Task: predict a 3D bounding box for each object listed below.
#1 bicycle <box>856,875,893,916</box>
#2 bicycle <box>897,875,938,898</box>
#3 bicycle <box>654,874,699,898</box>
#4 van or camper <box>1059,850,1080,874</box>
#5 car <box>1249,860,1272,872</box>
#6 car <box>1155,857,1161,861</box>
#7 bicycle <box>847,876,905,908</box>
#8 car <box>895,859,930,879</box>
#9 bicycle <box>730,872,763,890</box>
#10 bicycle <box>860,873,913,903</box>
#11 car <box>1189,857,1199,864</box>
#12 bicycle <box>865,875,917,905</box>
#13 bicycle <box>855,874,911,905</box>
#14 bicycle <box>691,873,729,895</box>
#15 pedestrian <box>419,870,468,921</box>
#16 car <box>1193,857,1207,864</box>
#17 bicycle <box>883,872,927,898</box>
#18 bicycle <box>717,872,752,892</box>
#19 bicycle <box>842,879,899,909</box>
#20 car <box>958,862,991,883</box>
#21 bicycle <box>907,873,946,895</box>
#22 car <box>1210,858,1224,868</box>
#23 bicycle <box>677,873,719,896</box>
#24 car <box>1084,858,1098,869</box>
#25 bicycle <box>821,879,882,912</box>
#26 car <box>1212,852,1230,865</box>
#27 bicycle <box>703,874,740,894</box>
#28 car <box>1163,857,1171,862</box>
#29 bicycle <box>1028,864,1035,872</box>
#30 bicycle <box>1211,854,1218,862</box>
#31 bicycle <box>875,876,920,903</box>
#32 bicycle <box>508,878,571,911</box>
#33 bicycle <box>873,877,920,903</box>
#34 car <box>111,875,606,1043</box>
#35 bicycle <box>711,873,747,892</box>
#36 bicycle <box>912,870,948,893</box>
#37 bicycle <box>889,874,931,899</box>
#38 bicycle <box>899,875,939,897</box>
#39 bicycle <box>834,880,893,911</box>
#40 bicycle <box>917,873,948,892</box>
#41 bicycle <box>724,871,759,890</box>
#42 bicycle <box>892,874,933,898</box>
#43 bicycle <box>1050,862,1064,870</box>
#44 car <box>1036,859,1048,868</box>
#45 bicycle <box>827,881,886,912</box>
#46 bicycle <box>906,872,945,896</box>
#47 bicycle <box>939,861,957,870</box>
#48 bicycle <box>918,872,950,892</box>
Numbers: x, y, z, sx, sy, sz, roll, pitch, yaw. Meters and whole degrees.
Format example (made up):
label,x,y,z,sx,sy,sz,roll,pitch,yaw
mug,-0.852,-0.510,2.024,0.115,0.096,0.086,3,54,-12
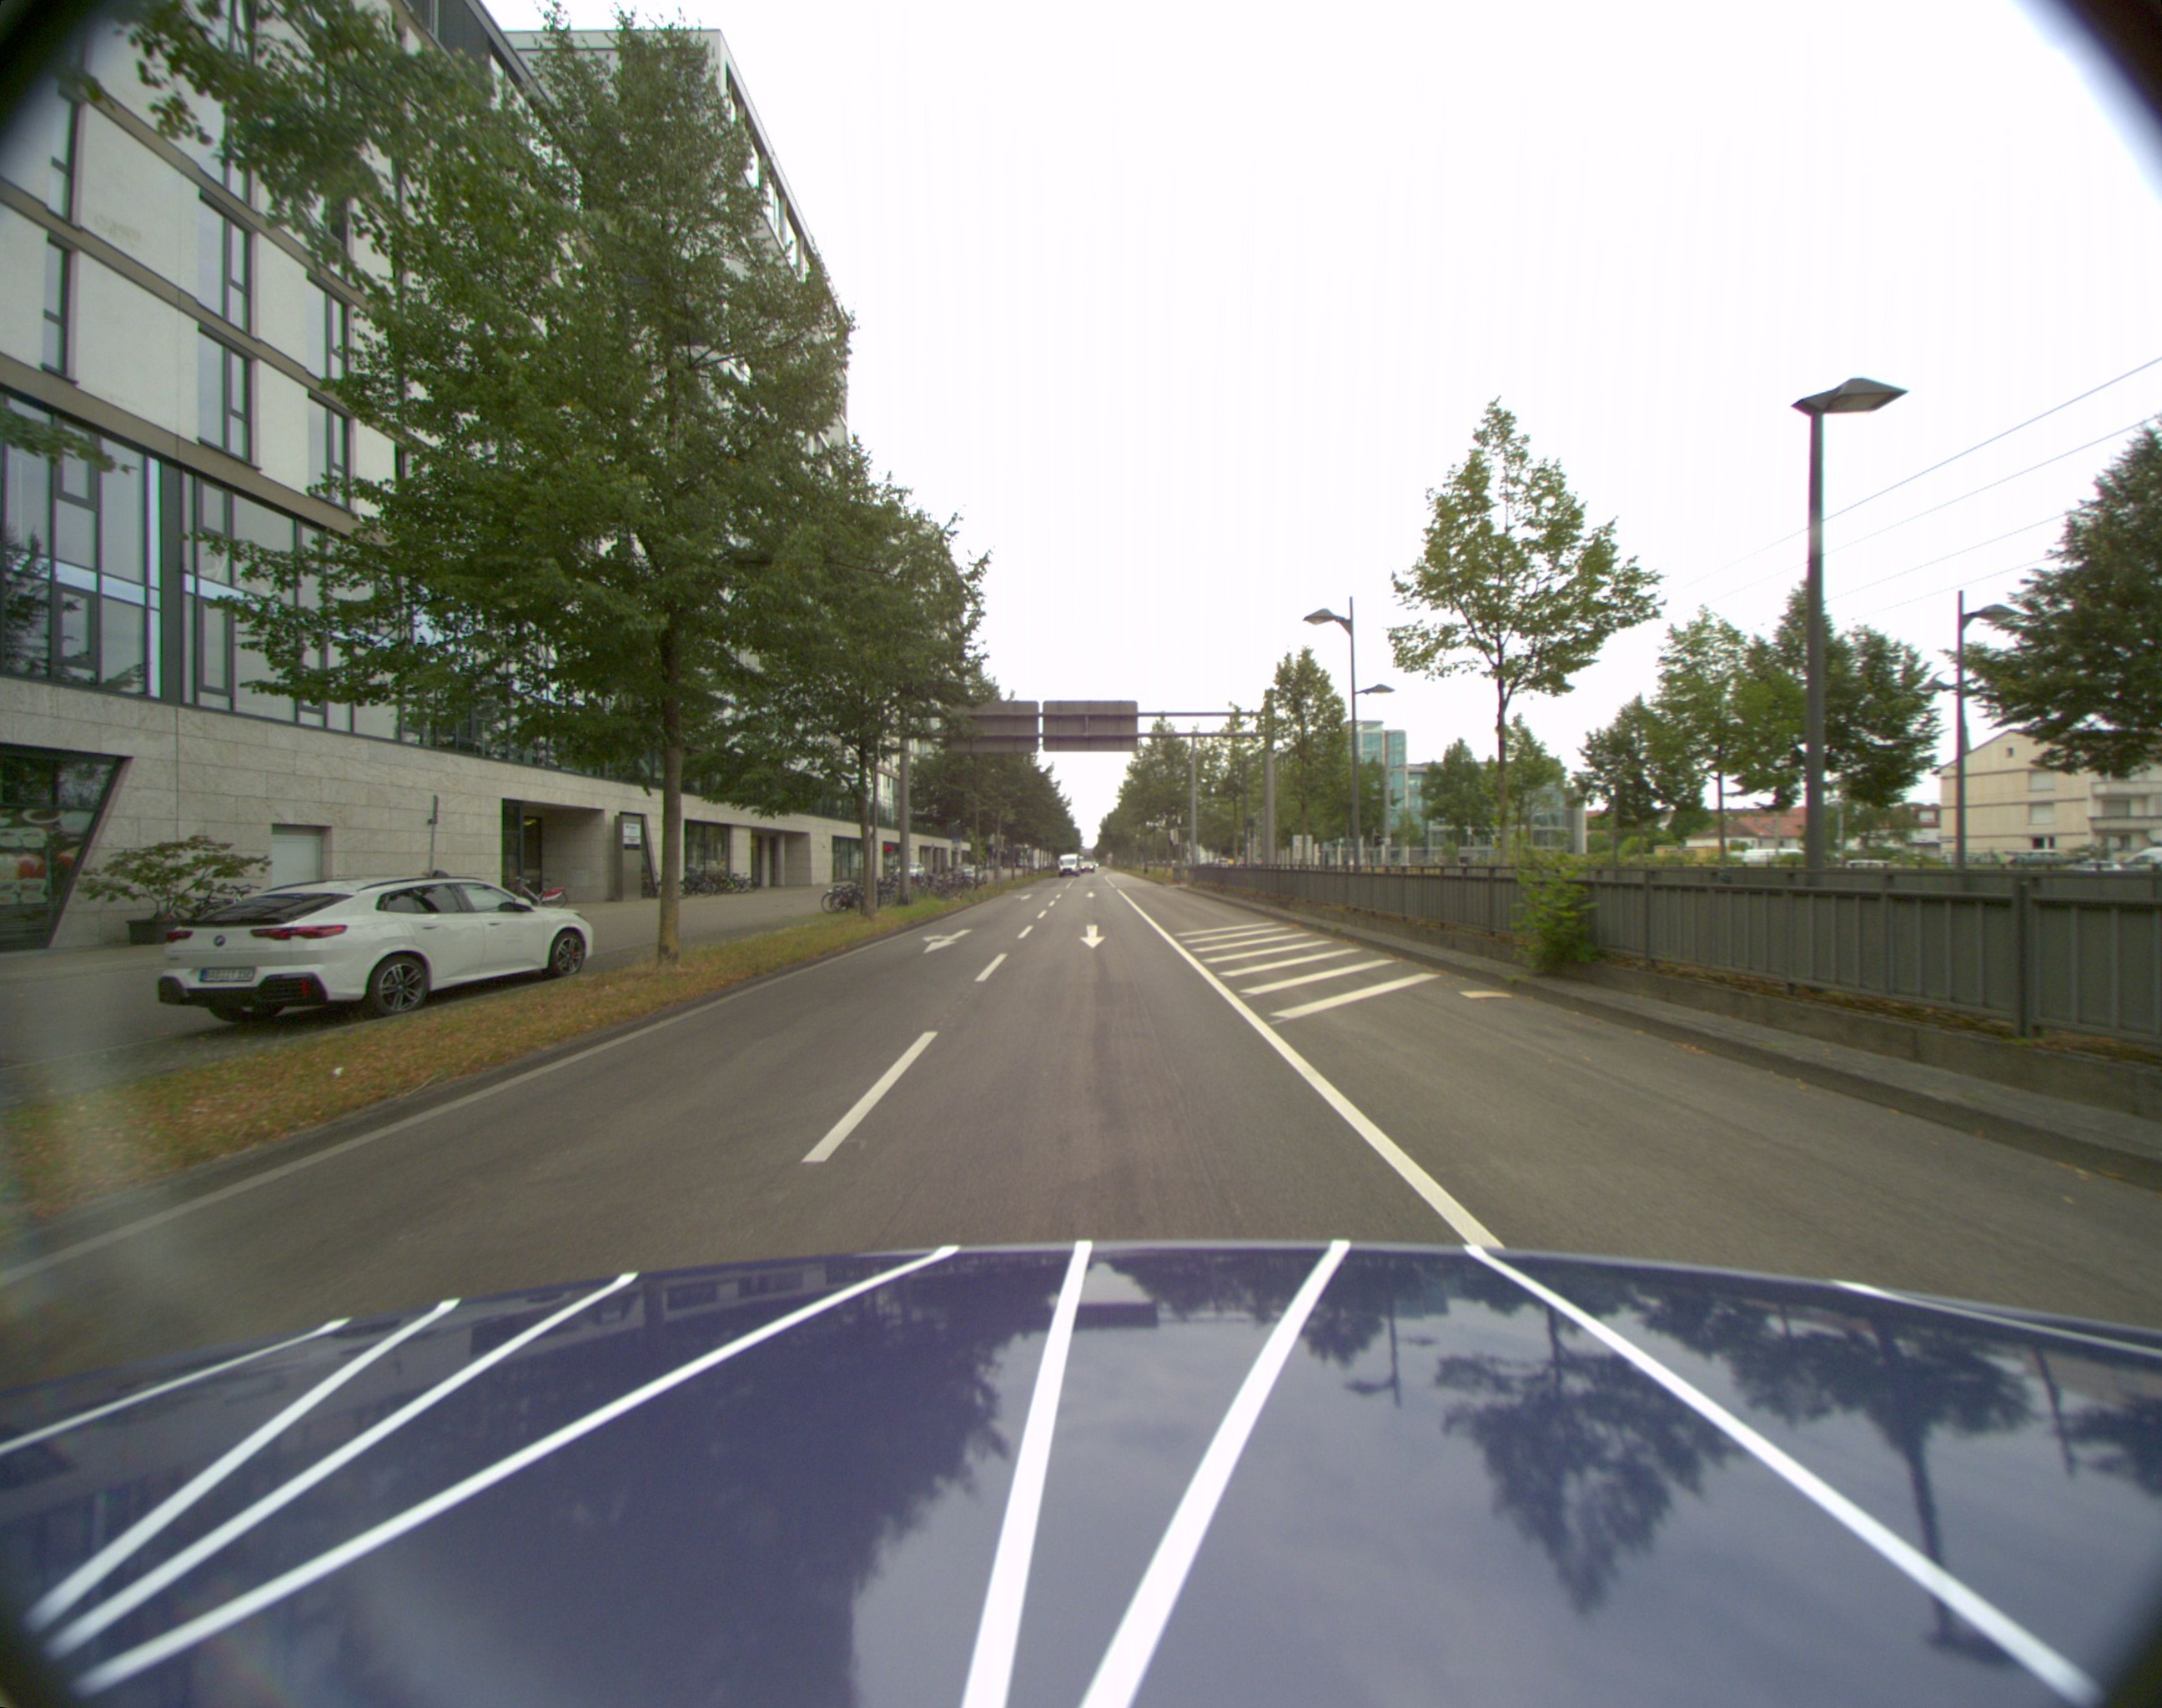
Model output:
label,x,y,z,sx,sy,sz,roll,pitch,yaw
bicycle,-6.277,1.240,23.157,0.712,1.109,2.202,-4,0,-7
bicycle,-7.546,1.493,35.103,1.720,0.900,0.588,-4,0,-8
bicycle,-17.317,1.357,32.556,1.602,1.020,0.533,0,0,-2
van or camper,-1.200,0.835,84.578,2.183,2.493,6.339,-2,0,0
car,24.391,1.621,103.281,1.832,1.646,4.691,0,0,-1
car,23.824,1.518,234.803,1.752,1.448,3.865,0,0,2
bicycle,-7.760,1.425,28.771,1.935,1.059,0.705,-4,0,-2
car,-14.180,1.270,64.069,1.862,1.579,4.240,2,0,1
bicycle,-17.648,1.431,40.092,1.533,0.948,0.533,0,0,-2
bicycle,-7.718,1.360,30.261,1.935,1.059,0.543,-4,0,-8
car,24.809,1.426,166.717,1.752,1.448,3.865,0,0,2
bicycle,-7.694,1.448,30.841,1.935,1.059,0.543,-4,0,-8
bicycle,-7.679,1.374,29.530,1.935,1.059,0.641,-4,0,-2
bicycle,-17.611,1.404,36.086,1.533,1.020,0.533,0,0,-2
pedestrian,-17.863,1.158,21.296,0.758,1.398,0.721,0,0,8
car,23.544,1.298,150.317,1.999,1.410,4.000,0,0,0
bicycle,-7.610,1.340,32.953,1.749,0.968,0.609,-4,0,-8
bicycle,-17.576,1.422,38.592,1.533,0.948,0.533,0,0,-2
bicycle,-7.777,1.480,28.079,1.865,0.945,0.612,-4,0,-2
car,-7.759,1.360,55.891,1.765,1.413,4.183,-1,0,1
bicycle,-7.664,1.481,37.772,1.778,1.006,0.610,-3,0,-8
car,22.553,1.467,126.194,1.753,1.488,3.865,-1,0,1
bicycle,-17.328,1.369,34.401,1.602,1.020,0.533,0,0,-2
car,1.442,1.311,109.684,1.973,1.528,4.140,0,0,1
bicycle,-7.822,1.418,25.922,1.865,0.989,0.574,-4,0,-2
car,21.845,0.670,118.752,1.998,1.933,5.096,0,0,0
bicycle,-17.573,1.471,37.163,1.533,0.948,0.533,0,0,-2
car,24.236,1.528,214.020,1.752,1.448,3.865,0,0,2
bicycle,-5.614,1.605,86.263,0.634,0.871,2.116,-3,0,2
bicycle,23.259,0.703,132.233,0.711,1.479,2.358,-3,-1,-1
bicycle,-7.746,1.491,32.108,1.749,0.968,0.609,-4,0,-8
bicycle,-17.829,1.315,25.038,1.605,1.020,0.609,0,0,-26
bicycle,-7.627,1.487,31.486,1.749,0.968,0.609,-4,0,-8
car,-8.493,1.091,9.723,1.943,1.543,4.593,-1,0,0
bicycle,-17.594,1.425,37.987,1.533,0.948,0.533,0,0,-2
bicycle,-7.652,1.393,38.602,1.672,1.084,0.525,-3,0,-2
bicycle,-7.594,1.452,33.793,1.749,0.968,0.609,-4,0,-8
bicycle,-7.604,1.505,35.738,1.720,0.900,0.588,-4,0,-8
bicycle,-7.819,1.484,27.338,1.865,0.945,0.652,-4,0,-2
bicycle,-7.834,1.501,40.112,1.533,0.947,0.552,-3,0,-2
bicycle,-17.626,1.387,39.444,1.533,0.948,0.533,0,0,-2
bicycle,-7.622,1.450,34.443,1.720,0.968,0.609,-4,0,-8
bicycle,-3.270,1.667,104.508,1.790,1.013,0.422,-2,1,-14
car,-6.735,1.643,132.612,1.954,1.521,4.000,0,0,0
bicycle,-7.836,1.487,26.589,1.865,0.945,0.501,-4,0,-2
bicycle,-7.580,1.460,37.079,1.778,1.006,0.610,-4,0,-8
bicycle,-17.462,1.558,99.919,2.238,1.170,0.976,0,0,-7
bicycle,-7.584,1.457,39.338,1.533,0.947,0.484,-3,0,-2
